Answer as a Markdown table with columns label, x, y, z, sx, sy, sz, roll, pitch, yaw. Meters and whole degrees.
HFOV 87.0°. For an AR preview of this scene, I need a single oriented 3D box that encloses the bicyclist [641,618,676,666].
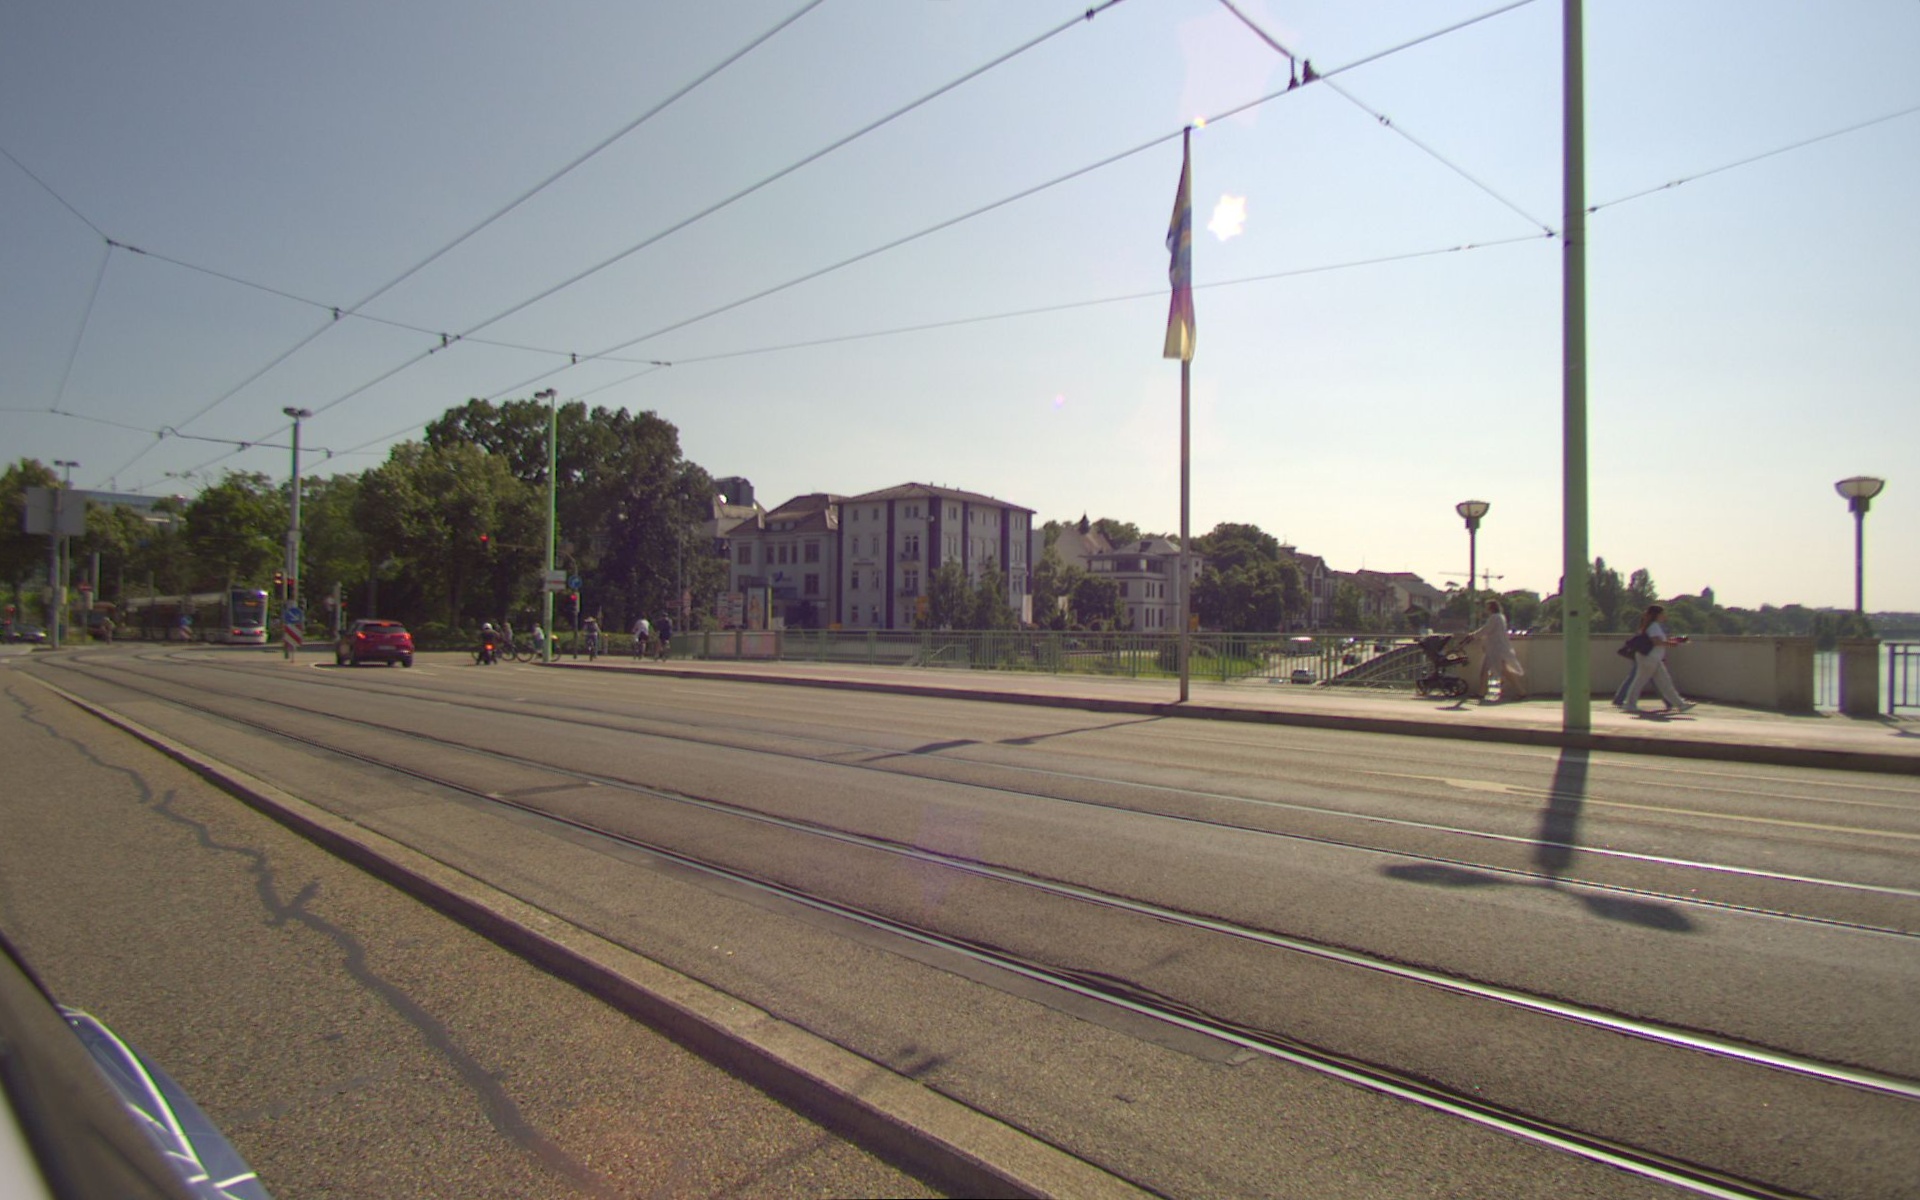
| label | x | y | z | sx | sy | sz | roll | pitch | yaw |
| --- | --- | --- | --- | --- | --- | --- | --- | --- | --- |
| bicyclist | -10.434 | 1.448 | 35.002 | 0.772 | 1.621 | 0.867 | -1 | -2 | 43 |

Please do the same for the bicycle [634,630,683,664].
| label | x | y | z | sx | sy | sz | roll | pitch | yaw |
| --- | --- | --- | --- | --- | --- | --- | --- | --- | --- |
| bicycle | -10.419 | 1.607 | 34.967 | 1.920 | 1.122 | 0.750 | -1 | -2 | 44 |

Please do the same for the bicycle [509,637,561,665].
| label | x | y | z | sx | sy | sz | roll | pitch | yaw |
| --- | --- | --- | --- | --- | --- | --- | --- | --- | --- |
| bicycle | -18.038 | 2.168 | 43.006 | 1.894 | 1.122 | 0.761 | 0 | -1 | 2 |

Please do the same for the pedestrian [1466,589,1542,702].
| label | x | y | z | sx | sy | sz | roll | pitch | yaw |
| --- | --- | --- | --- | --- | --- | --- | --- | --- | --- |
| pedestrian | 9.400 | 0.768 | 17.499 | 0.975 | 1.867 | 0.731 | -2 | 1 | 41 |

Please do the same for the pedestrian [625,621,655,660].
| label | x | y | z | sx | sy | sz | roll | pitch | yaw |
| --- | --- | --- | --- | --- | --- | --- | --- | --- | --- |
| pedestrian | -12.245 | 1.550 | 38.713 | 0.899 | 1.466 | 0.735 | -1 | -2 | 43 |

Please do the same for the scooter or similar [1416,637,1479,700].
| label | x | y | z | sx | sy | sz | roll | pitch | yaw |
| --- | --- | --- | --- | --- | --- | --- | --- | --- | --- |
| scooter or similar | 8.729 | 1.205 | 18.107 | 0.832 | 1.037 | 0.731 | -2 | 1 | 41 |

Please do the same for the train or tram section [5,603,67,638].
| label | x | y | z | sx | sy | sz | roll | pitch | yaw |
| --- | --- | --- | --- | --- | --- | --- | --- | --- | --- |
| train or tram section | -93.933 | 2.122 | 102.808 | 12.398 | 3.429 | 2.732 | -1 | -3 | 39 |

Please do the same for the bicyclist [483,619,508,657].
| label | x | y | z | sx | sy | sz | roll | pitch | yaw |
| --- | --- | --- | --- | --- | --- | --- | --- | --- | --- |
| bicyclist | -19.873 | 1.622 | 43.285 | 0.865 | 1.621 | 0.774 | 1 | -1 | -30 |

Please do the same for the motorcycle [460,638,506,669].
| label | x | y | z | sx | sy | sz | roll | pitch | yaw |
| --- | --- | --- | --- | --- | --- | --- | --- | --- | --- |
| motorcycle | -17.490 | 1.948 | 37.070 | 1.951 | 1.032 | 0.836 | -1 | -1 | 42 |

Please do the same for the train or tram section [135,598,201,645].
| label | x | y | z | sx | sy | sz | roll | pitch | yaw |
| --- | --- | --- | --- | --- | --- | --- | --- | --- | --- |
| train or tram section | -67.674 | 1.866 | 86.369 | 9.162 | 3.806 | 2.511 | -1 | -2 | 40 |

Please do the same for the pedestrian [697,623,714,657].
| label | x | y | z | sx | sy | sz | roll | pitch | yaw |
| --- | --- | --- | --- | --- | --- | --- | --- | --- | --- |
| pedestrian | -13.578 | 2.138 | 53.949 | 0.686 | 1.806 | 0.701 | 0 | -2 | 0 |

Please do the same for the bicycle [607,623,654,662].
| label | x | y | z | sx | sy | sz | roll | pitch | yaw |
| --- | --- | --- | --- | --- | --- | --- | --- | --- | --- |
| bicycle | -12.731 | 1.631 | 39.080 | 2.162 | 1.410 | 0.697 | -1 | 2 | 41 |

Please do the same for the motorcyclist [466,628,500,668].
| label | x | y | z | sx | sy | sz | roll | pitch | yaw |
| --- | --- | --- | --- | --- | --- | --- | --- | --- | --- |
| motorcyclist | -17.470 | 1.742 | 37.078 | 0.897 | 1.412 | 0.836 | -1 | -1 | 41 |

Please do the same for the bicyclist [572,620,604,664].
| label | x | y | z | sx | sy | sz | roll | pitch | yaw |
| --- | --- | --- | --- | --- | --- | --- | --- | --- | --- |
| bicyclist | -13.825 | 1.579 | 37.629 | 0.867 | 1.621 | 0.772 | 3 | -5 | -44 |

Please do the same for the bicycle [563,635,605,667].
| label | x | y | z | sx | sy | sz | roll | pitch | yaw |
| --- | --- | --- | --- | --- | --- | --- | --- | --- | --- |
| bicycle | -14.071 | 1.913 | 37.842 | 0.750 | 1.122 | 1.921 | -1 | -2 | -45 |

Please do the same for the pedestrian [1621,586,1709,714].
| label | x | y | z | sx | sy | sz | roll | pitch | yaw |
| --- | --- | --- | --- | --- | --- | --- | --- | --- | --- |
| pedestrian | 10.413 | 0.717 | 14.958 | 0.957 | 1.798 | 0.731 | -2 | 1 | 41 |

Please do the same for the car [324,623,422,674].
| label | x | y | z | sx | sy | sz | roll | pitch | yaw |
| --- | --- | --- | --- | --- | --- | --- | --- | --- | --- |
| car | -19.517 | 1.556 | 33.586 | 1.969 | 1.526 | 4.194 | 1 | -1 | -42 |

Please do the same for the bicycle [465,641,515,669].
| label | x | y | z | sx | sy | sz | roll | pitch | yaw |
| --- | --- | --- | --- | --- | --- | --- | --- | --- | --- |
| bicycle | -20.046 | 2.337 | 43.179 | 1.887 | 1.122 | 0.763 | 1 | -1 | -29 |

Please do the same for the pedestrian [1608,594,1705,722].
| label | x | y | z | sx | sy | sz | roll | pitch | yaw |
| --- | --- | --- | --- | --- | --- | --- | --- | --- | --- |
| pedestrian | 10.671 | 0.864 | 15.510 | 1.121 | 1.863 | 0.731 | -2 | 1 | 41 |

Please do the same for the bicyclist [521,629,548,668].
| label | x | y | z | sx | sy | sz | roll | pitch | yaw |
| --- | --- | --- | --- | --- | --- | --- | --- | --- | --- |
| bicyclist | -18.060 | 2.034 | 43.010 | 0.761 | 1.621 | 0.880 | 1 | -1 | -1 |

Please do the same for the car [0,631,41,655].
| label | x | y | z | sx | sy | sz | roll | pitch | yaw |
| --- | --- | --- | --- | --- | --- | --- | --- | --- | --- |
| car | -61.270 | 2.771 | 65.738 | 4.745 | 1.497 | 1.729 | -2 | -4 | 42 |

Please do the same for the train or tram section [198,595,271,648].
| label | x | y | z | sx | sy | sz | roll | pitch | yaw |
| --- | --- | --- | --- | --- | --- | --- | --- | --- | --- |
| train or tram section | -53.562 | 1.642 | 74.619 | 9.618 | 3.709 | 2.378 | -2 | -3 | 43 |

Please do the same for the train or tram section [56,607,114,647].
| label | x | y | z | sx | sy | sz | roll | pitch | yaw |
| --- | --- | --- | --- | --- | --- | --- | --- | --- | --- |
| train or tram section | -76.963 | 2.404 | 88.997 | 5.879 | 3.429 | 2.733 | -1 | -3 | 38 |

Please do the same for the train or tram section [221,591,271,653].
| label | x | y | z | sx | sy | sz | roll | pitch | yaw |
| --- | --- | --- | --- | --- | --- | --- | --- | --- | --- |
| train or tram section | -47.907 | 1.413 | 67.752 | 2.437 | 3.805 | 11.877 | -2 | 0 | -36 |

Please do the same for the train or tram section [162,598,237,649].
| label | x | y | z | sx | sy | sz | roll | pitch | yaw |
| --- | --- | --- | --- | --- | --- | --- | --- | --- | --- |
| train or tram section | -60.797 | 1.830 | 80.851 | 9.158 | 3.806 | 2.512 | 0 | -1 | 39 |
